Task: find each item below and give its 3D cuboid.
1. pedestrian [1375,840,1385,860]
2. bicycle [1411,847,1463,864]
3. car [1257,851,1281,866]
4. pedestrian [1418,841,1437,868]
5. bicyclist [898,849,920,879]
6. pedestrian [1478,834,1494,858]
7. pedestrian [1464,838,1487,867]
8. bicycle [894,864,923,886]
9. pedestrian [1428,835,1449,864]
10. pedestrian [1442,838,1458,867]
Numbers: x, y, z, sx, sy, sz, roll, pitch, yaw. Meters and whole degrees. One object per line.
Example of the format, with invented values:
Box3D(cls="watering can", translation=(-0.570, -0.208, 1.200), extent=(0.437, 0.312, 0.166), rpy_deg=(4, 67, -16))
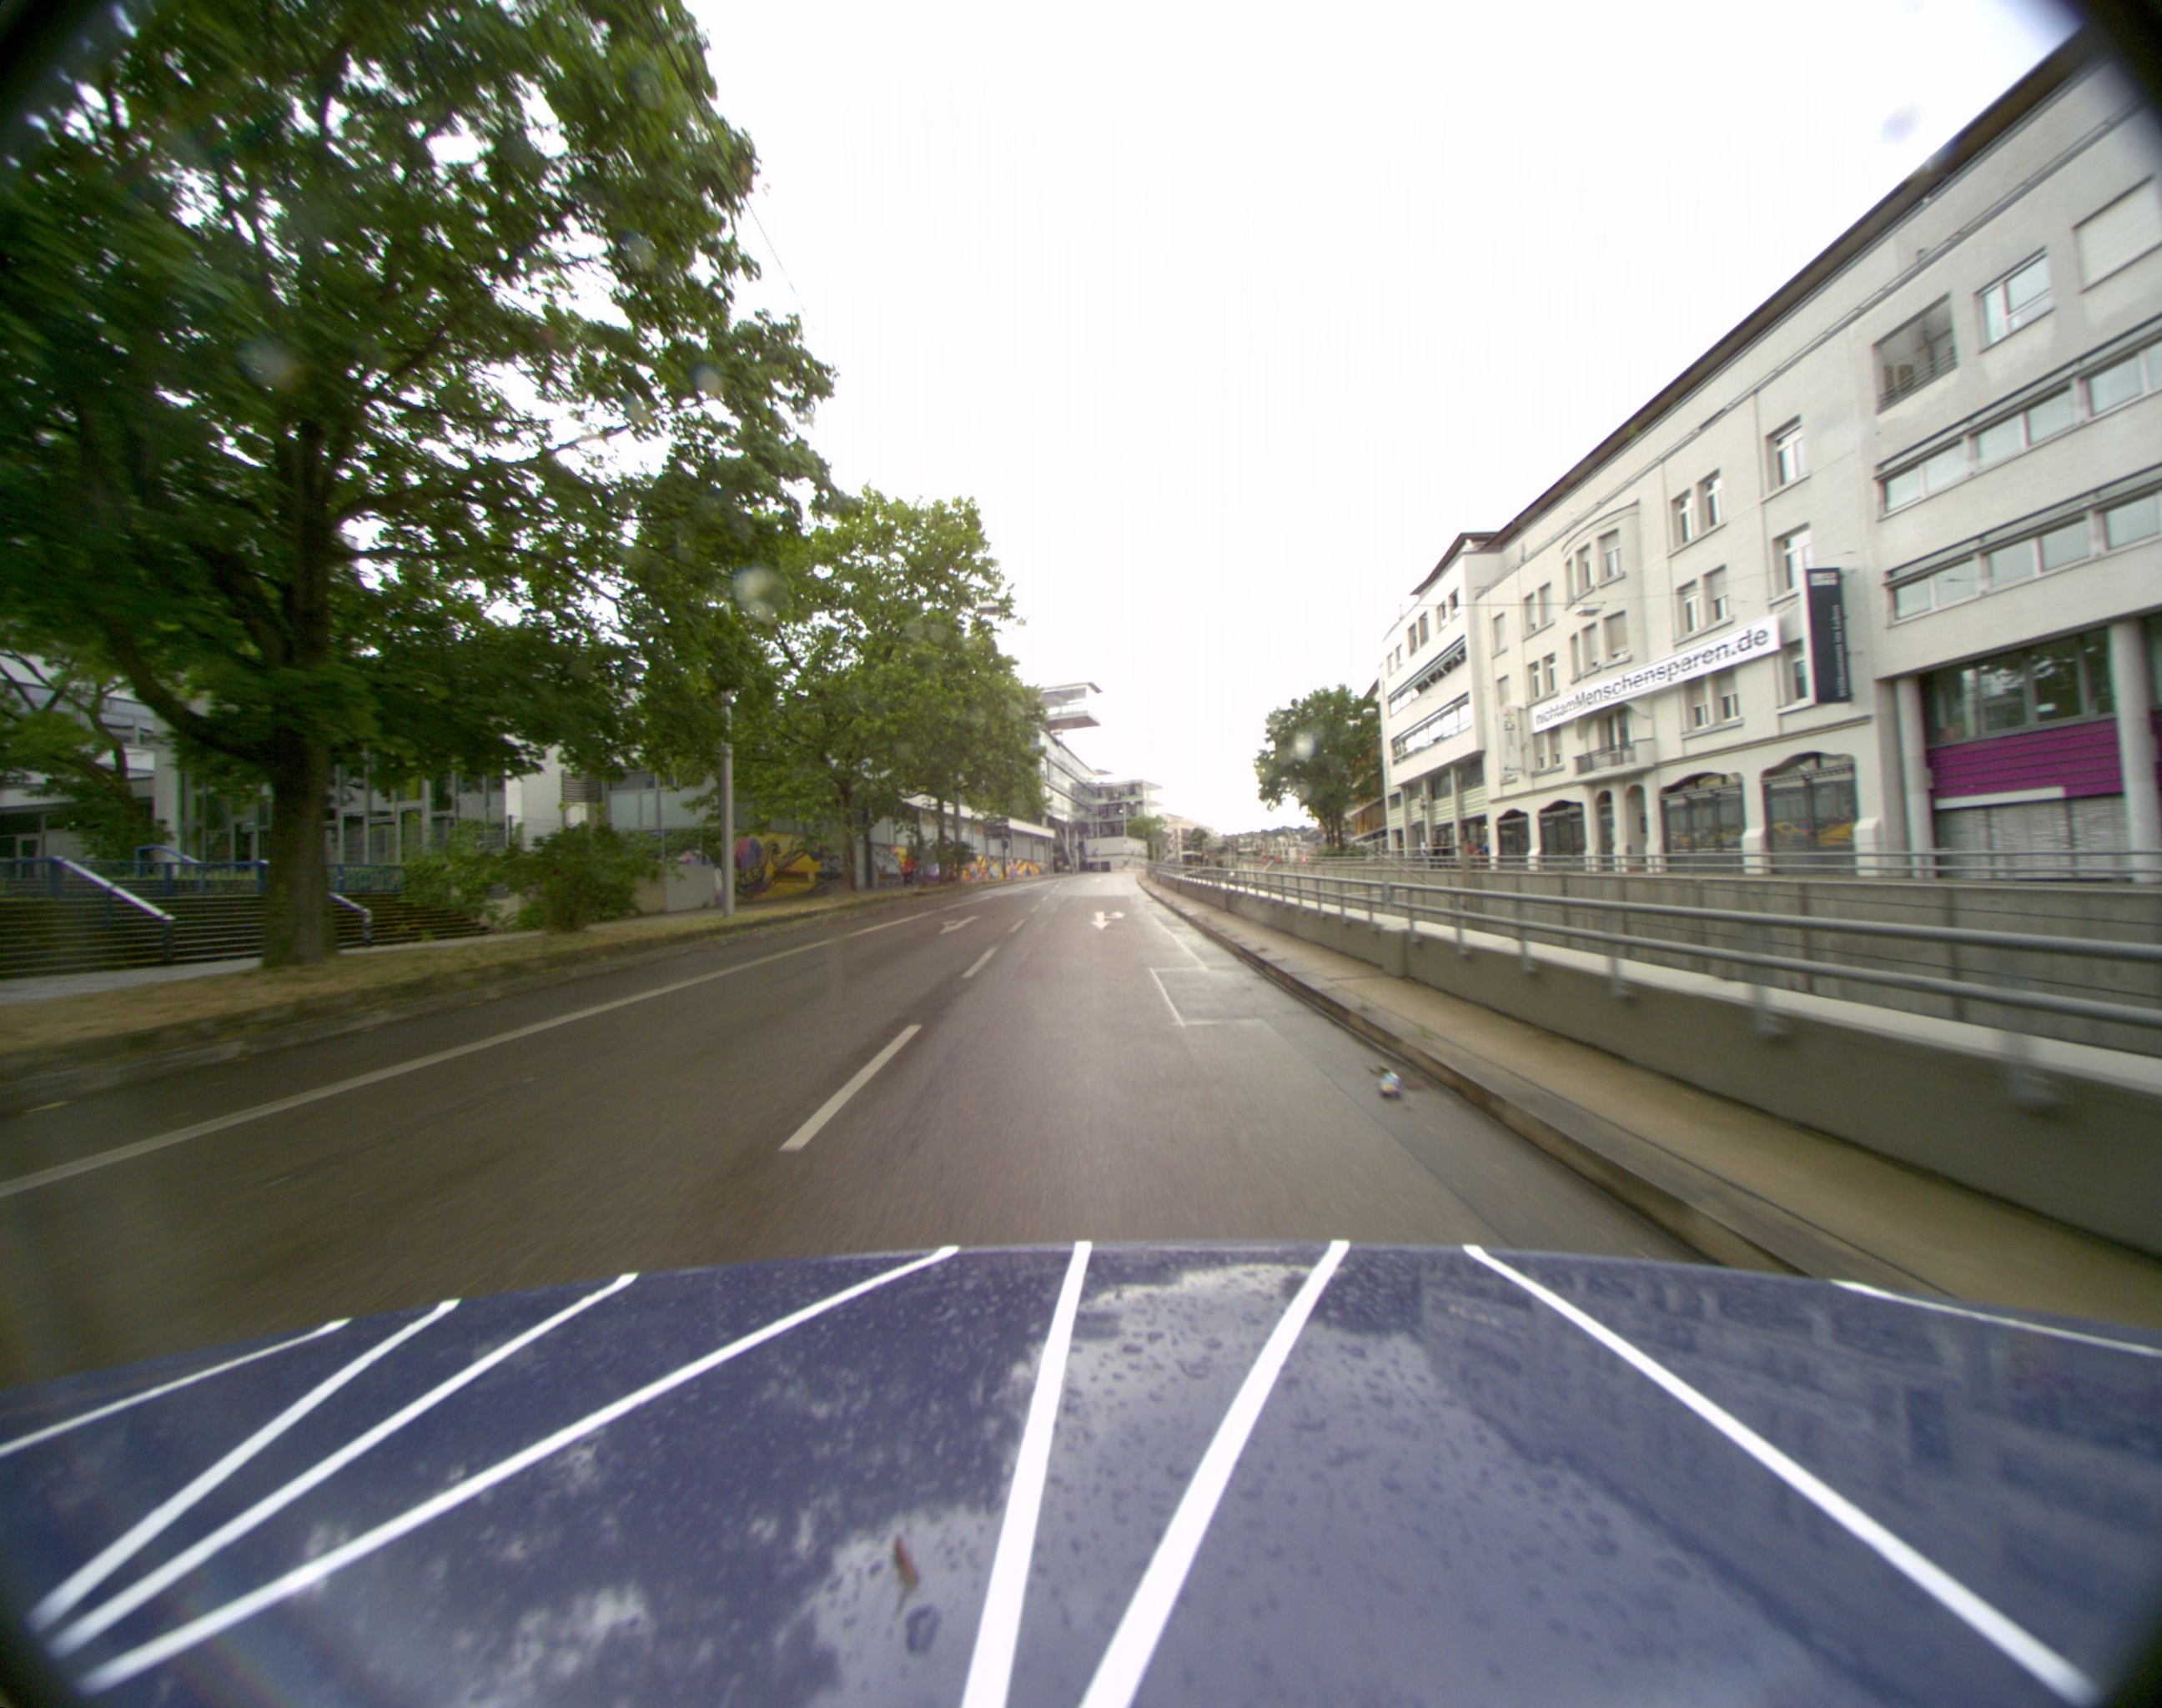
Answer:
Box3D(cls="pedestrian", translation=(27.713, -0.327, 70.419), extent=(0.666, 1.838, 0.831), rpy_deg=(0, 0, 10))
Box3D(cls="bicycle", translation=(24.135, 0.096, 51.642), extent=(1.696, 1.037, 4.523), rpy_deg=(-3, 0, 5))
Box3D(cls="car", translation=(21.814, 0.541, 88.380), extent=(1.841, 1.702, 4.578), rpy_deg=(-2, -1, 3))
Box3D(cls="pedestrian", translation=(21.356, 0.034, 46.866), extent=(0.675, 1.633, 0.793), rpy_deg=(-2, 0, -42))
Box3D(cls="bicyclist", translation=(-9.485, 0.523, 41.843), extent=(0.808, 1.618, 1.047), rpy_deg=(-2, 0, 8))
Box3D(cls="pedestrian", translation=(24.535, -0.465, 46.018), extent=(0.608, 1.410, 0.674), rpy_deg=(-3, 0, 6))
Box3D(cls="pedestrian", translation=(22.366, -0.062, 43.089), extent=(0.674, 1.606, 0.941), rpy_deg=(-3, 0, -14))
Box3D(cls="bicycle", translation=(-9.457, 1.149, 41.814), extent=(0.808, 1.105, 2.199), rpy_deg=(-2, 0, 8))
Box3D(cls="pedestrian", translation=(22.418, -0.263, 47.657), extent=(0.674, 1.774, 0.941), rpy_deg=(-3, 0, -14))
Box3D(cls="pedestrian", translation=(22.489, -0.077, 46.306), extent=(0.675, 1.711, 0.608), rpy_deg=(-2, 0, -39))
